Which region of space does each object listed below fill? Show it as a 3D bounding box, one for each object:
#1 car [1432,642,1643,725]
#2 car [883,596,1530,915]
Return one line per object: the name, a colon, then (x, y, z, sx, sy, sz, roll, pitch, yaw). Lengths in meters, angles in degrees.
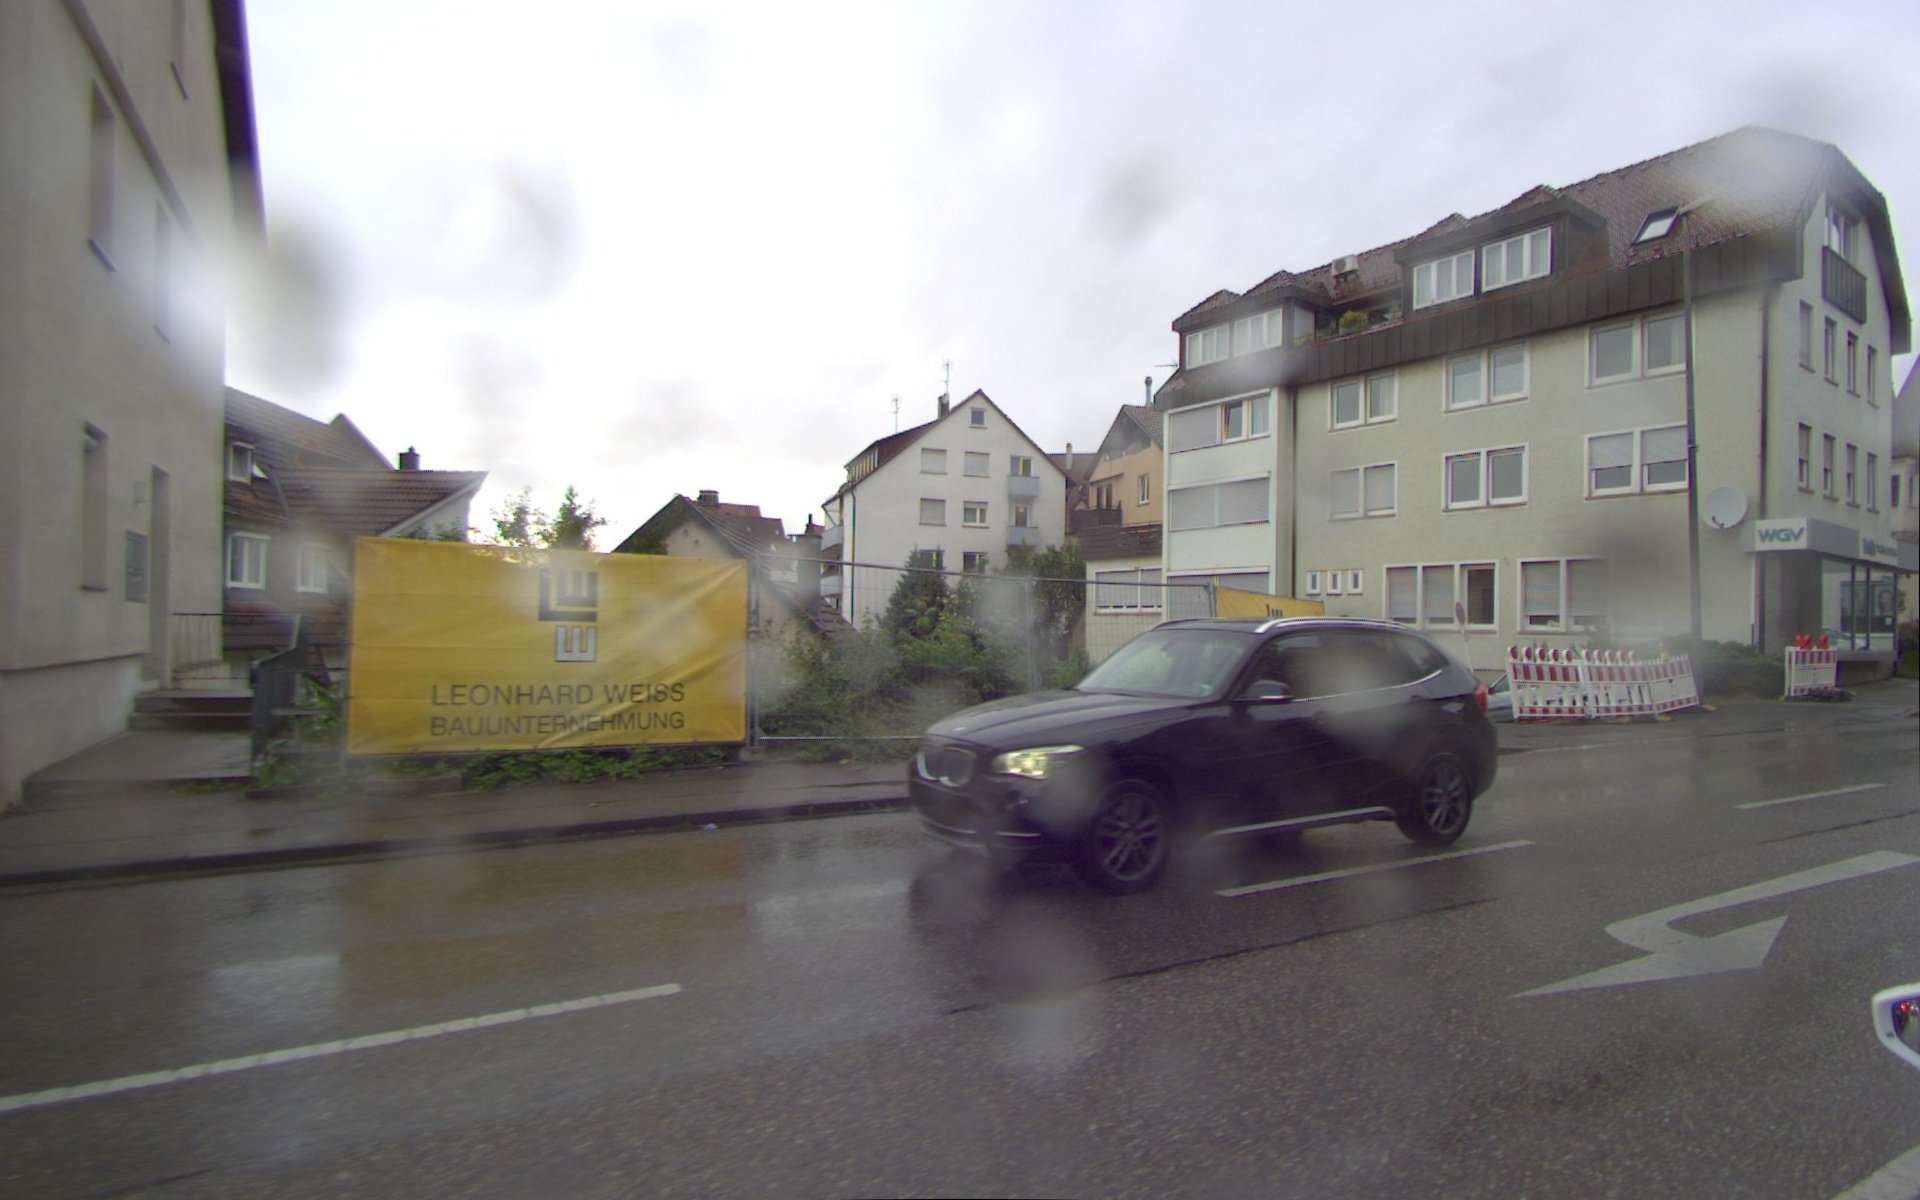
car: (12.343, 1.831, 21.632, 1.636, 1.407, 3.477, -1, -8, -38)
car: (1.756, 0.845, 6.876, 4.224, 1.592, 1.808, 1, -2, -29)
